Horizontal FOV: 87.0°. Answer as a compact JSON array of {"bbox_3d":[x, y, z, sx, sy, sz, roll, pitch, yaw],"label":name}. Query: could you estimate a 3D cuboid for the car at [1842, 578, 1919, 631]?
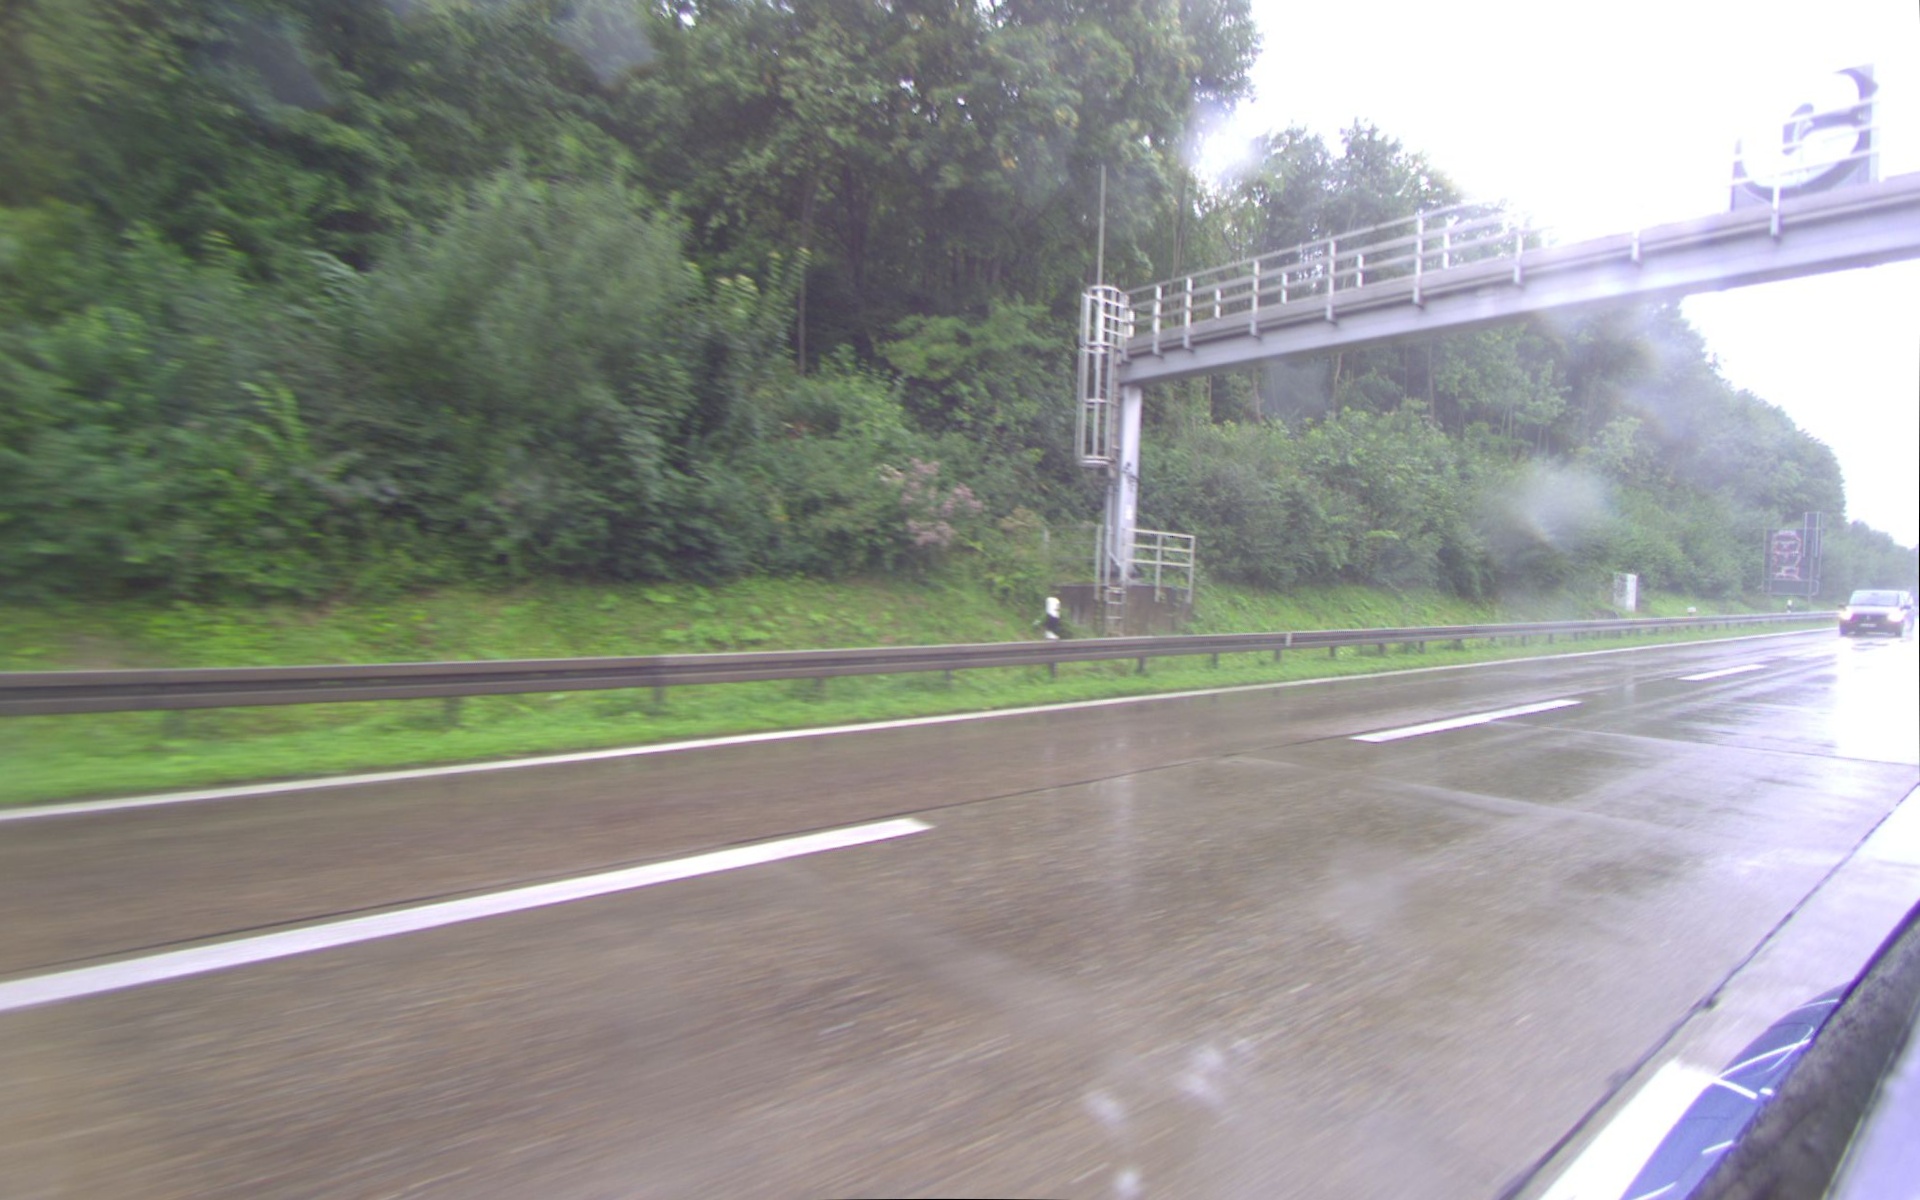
[{"bbox_3d":[37.343,0.151,40.892,3.927,2.039,1.859,0,1,-38],"label":"car"}]
